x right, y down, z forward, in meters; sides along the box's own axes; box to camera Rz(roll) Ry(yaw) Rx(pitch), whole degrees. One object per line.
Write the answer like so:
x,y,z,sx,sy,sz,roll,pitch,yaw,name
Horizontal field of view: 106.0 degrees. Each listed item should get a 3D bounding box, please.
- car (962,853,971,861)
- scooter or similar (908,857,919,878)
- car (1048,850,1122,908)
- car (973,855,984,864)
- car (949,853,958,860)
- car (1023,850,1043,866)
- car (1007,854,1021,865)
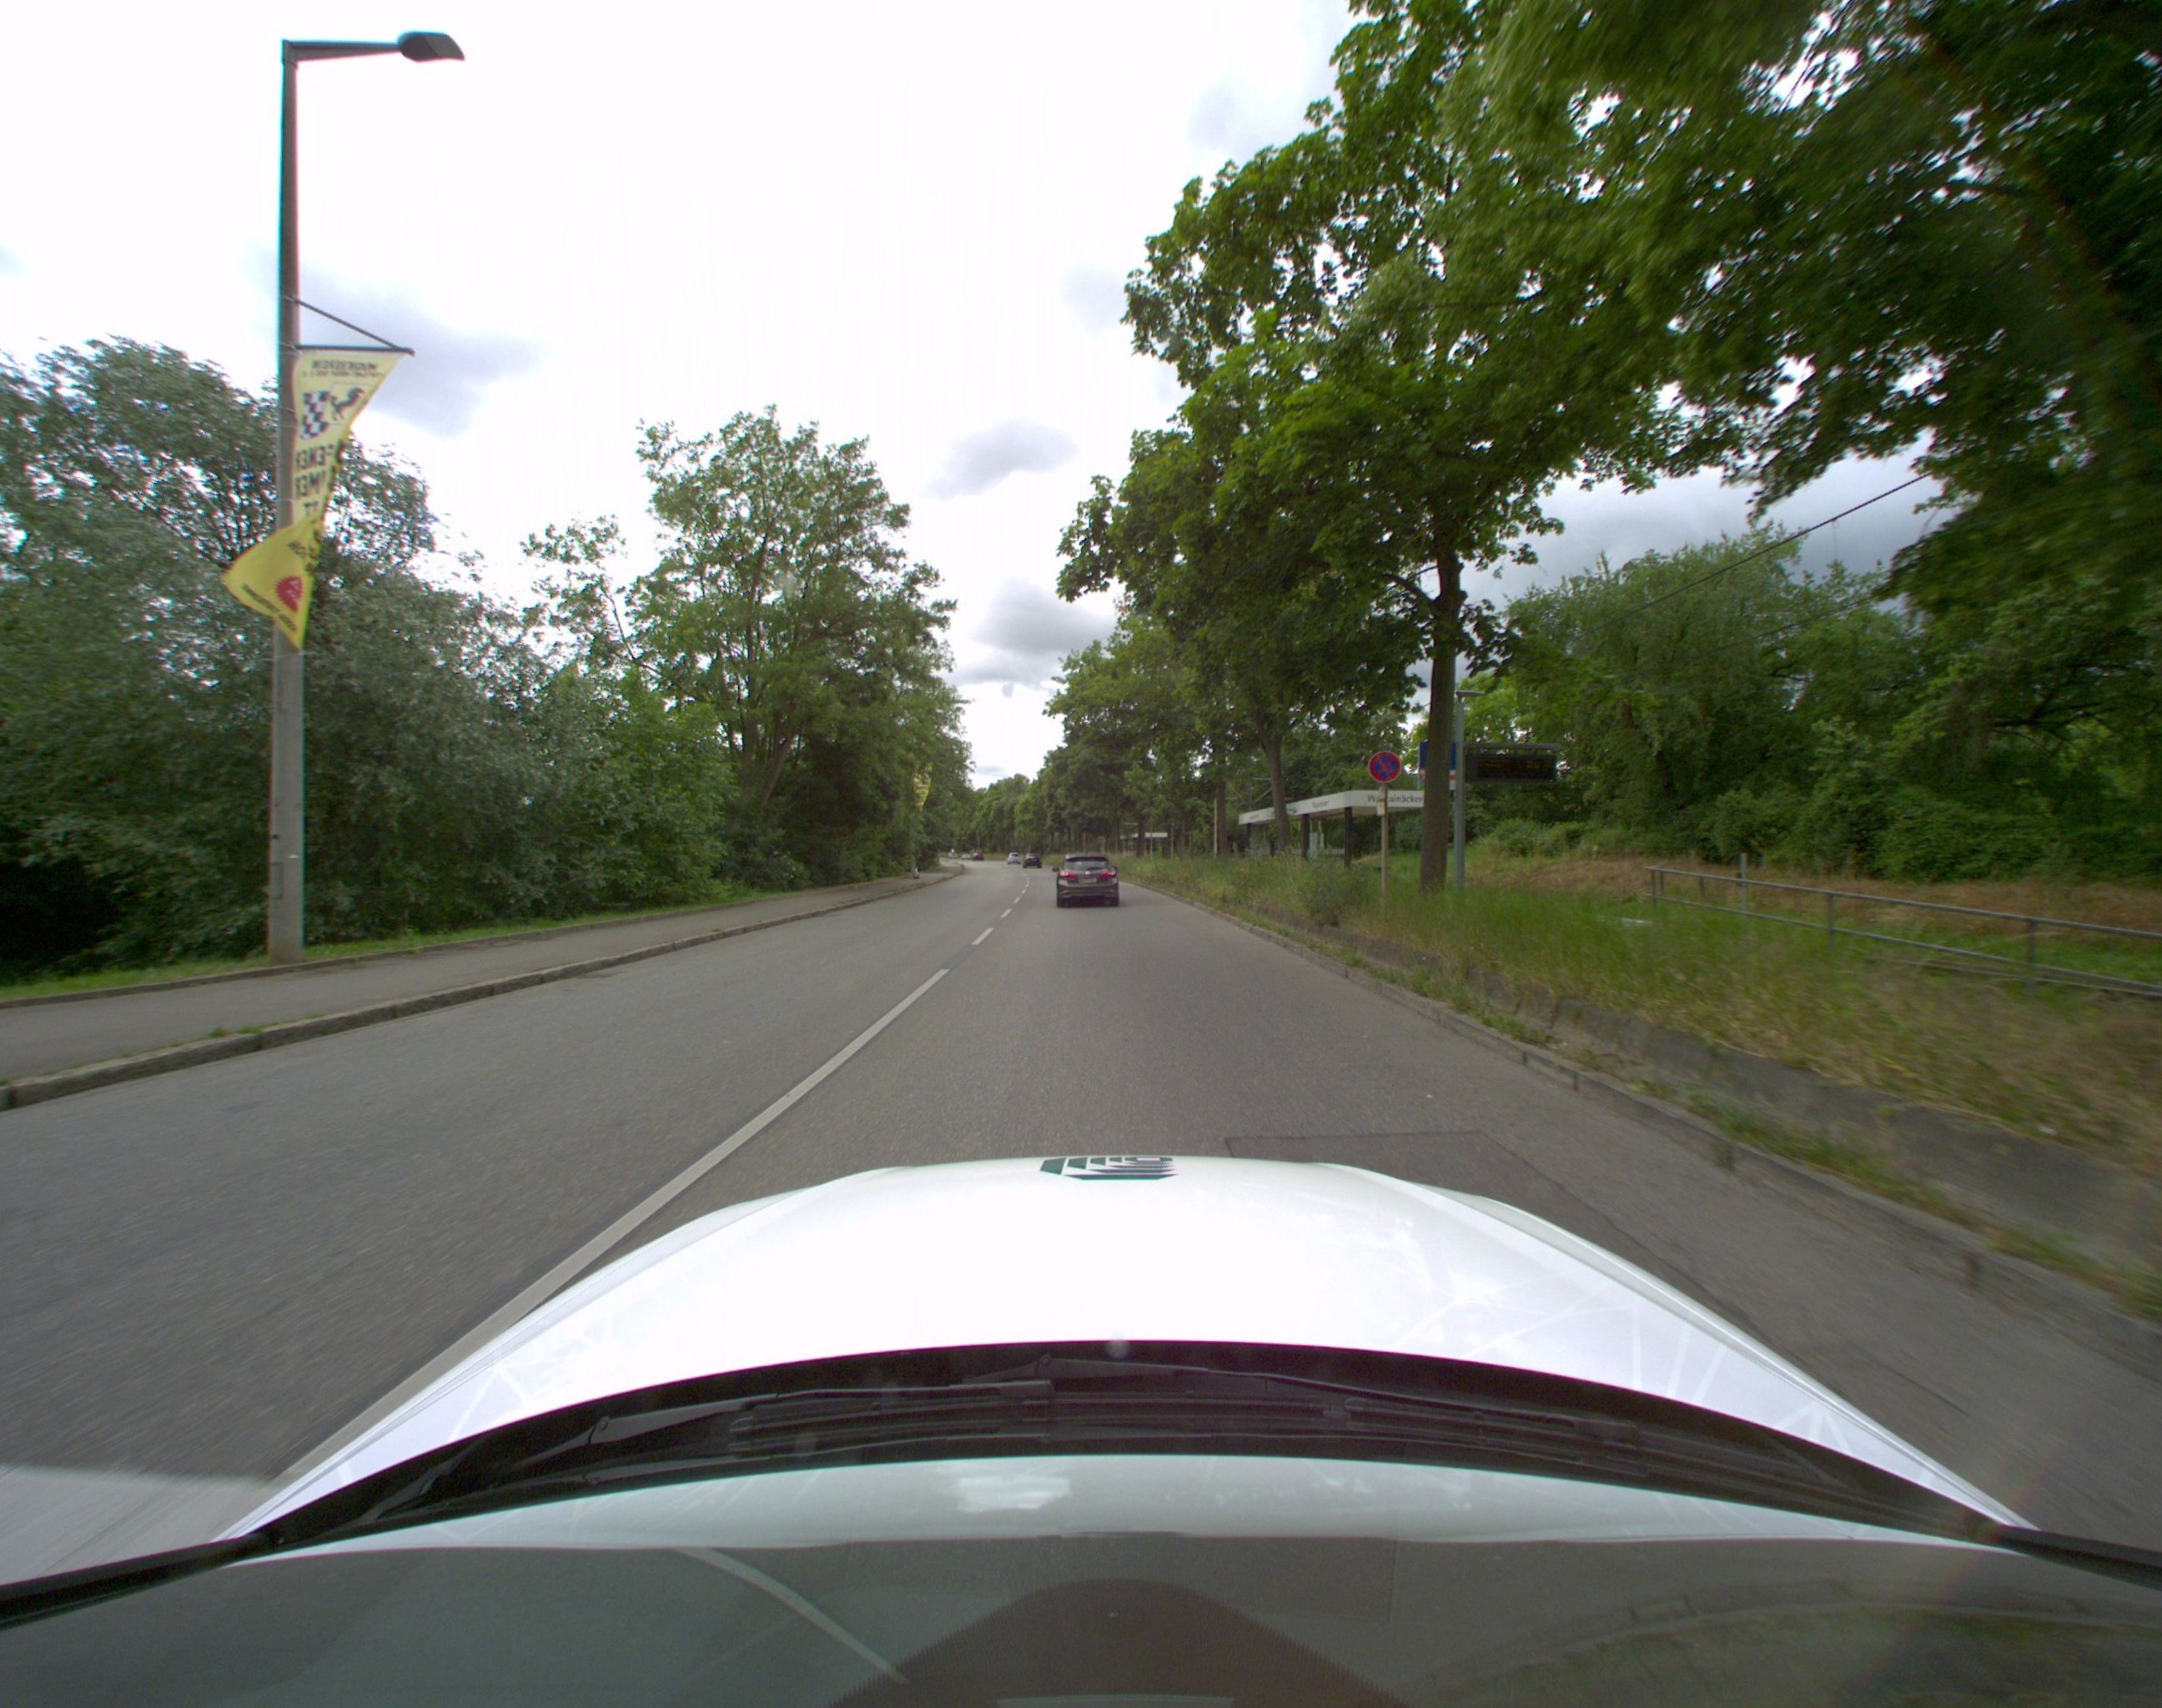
-22.921,0.610,162.983,1.775,1.472,3.990,1,1,-8,car
-9.729,0.784,47.201,0.366,1.184,1.287,1,0,-24,scooter or similar
0.034,0.669,24.147,1.813,1.508,3.993,-1,1,-5,car
-18.555,0.919,147.315,1.775,1.472,3.989,4,0,-8,car
-28.710,0.633,183.216,1.775,1.472,3.989,2,0,-8,car
-4.899,0.394,83.107,1.774,1.472,3.991,2,0,-6,car
-9.008,0.733,110.337,1.772,1.472,3.995,2,0,-4,car
